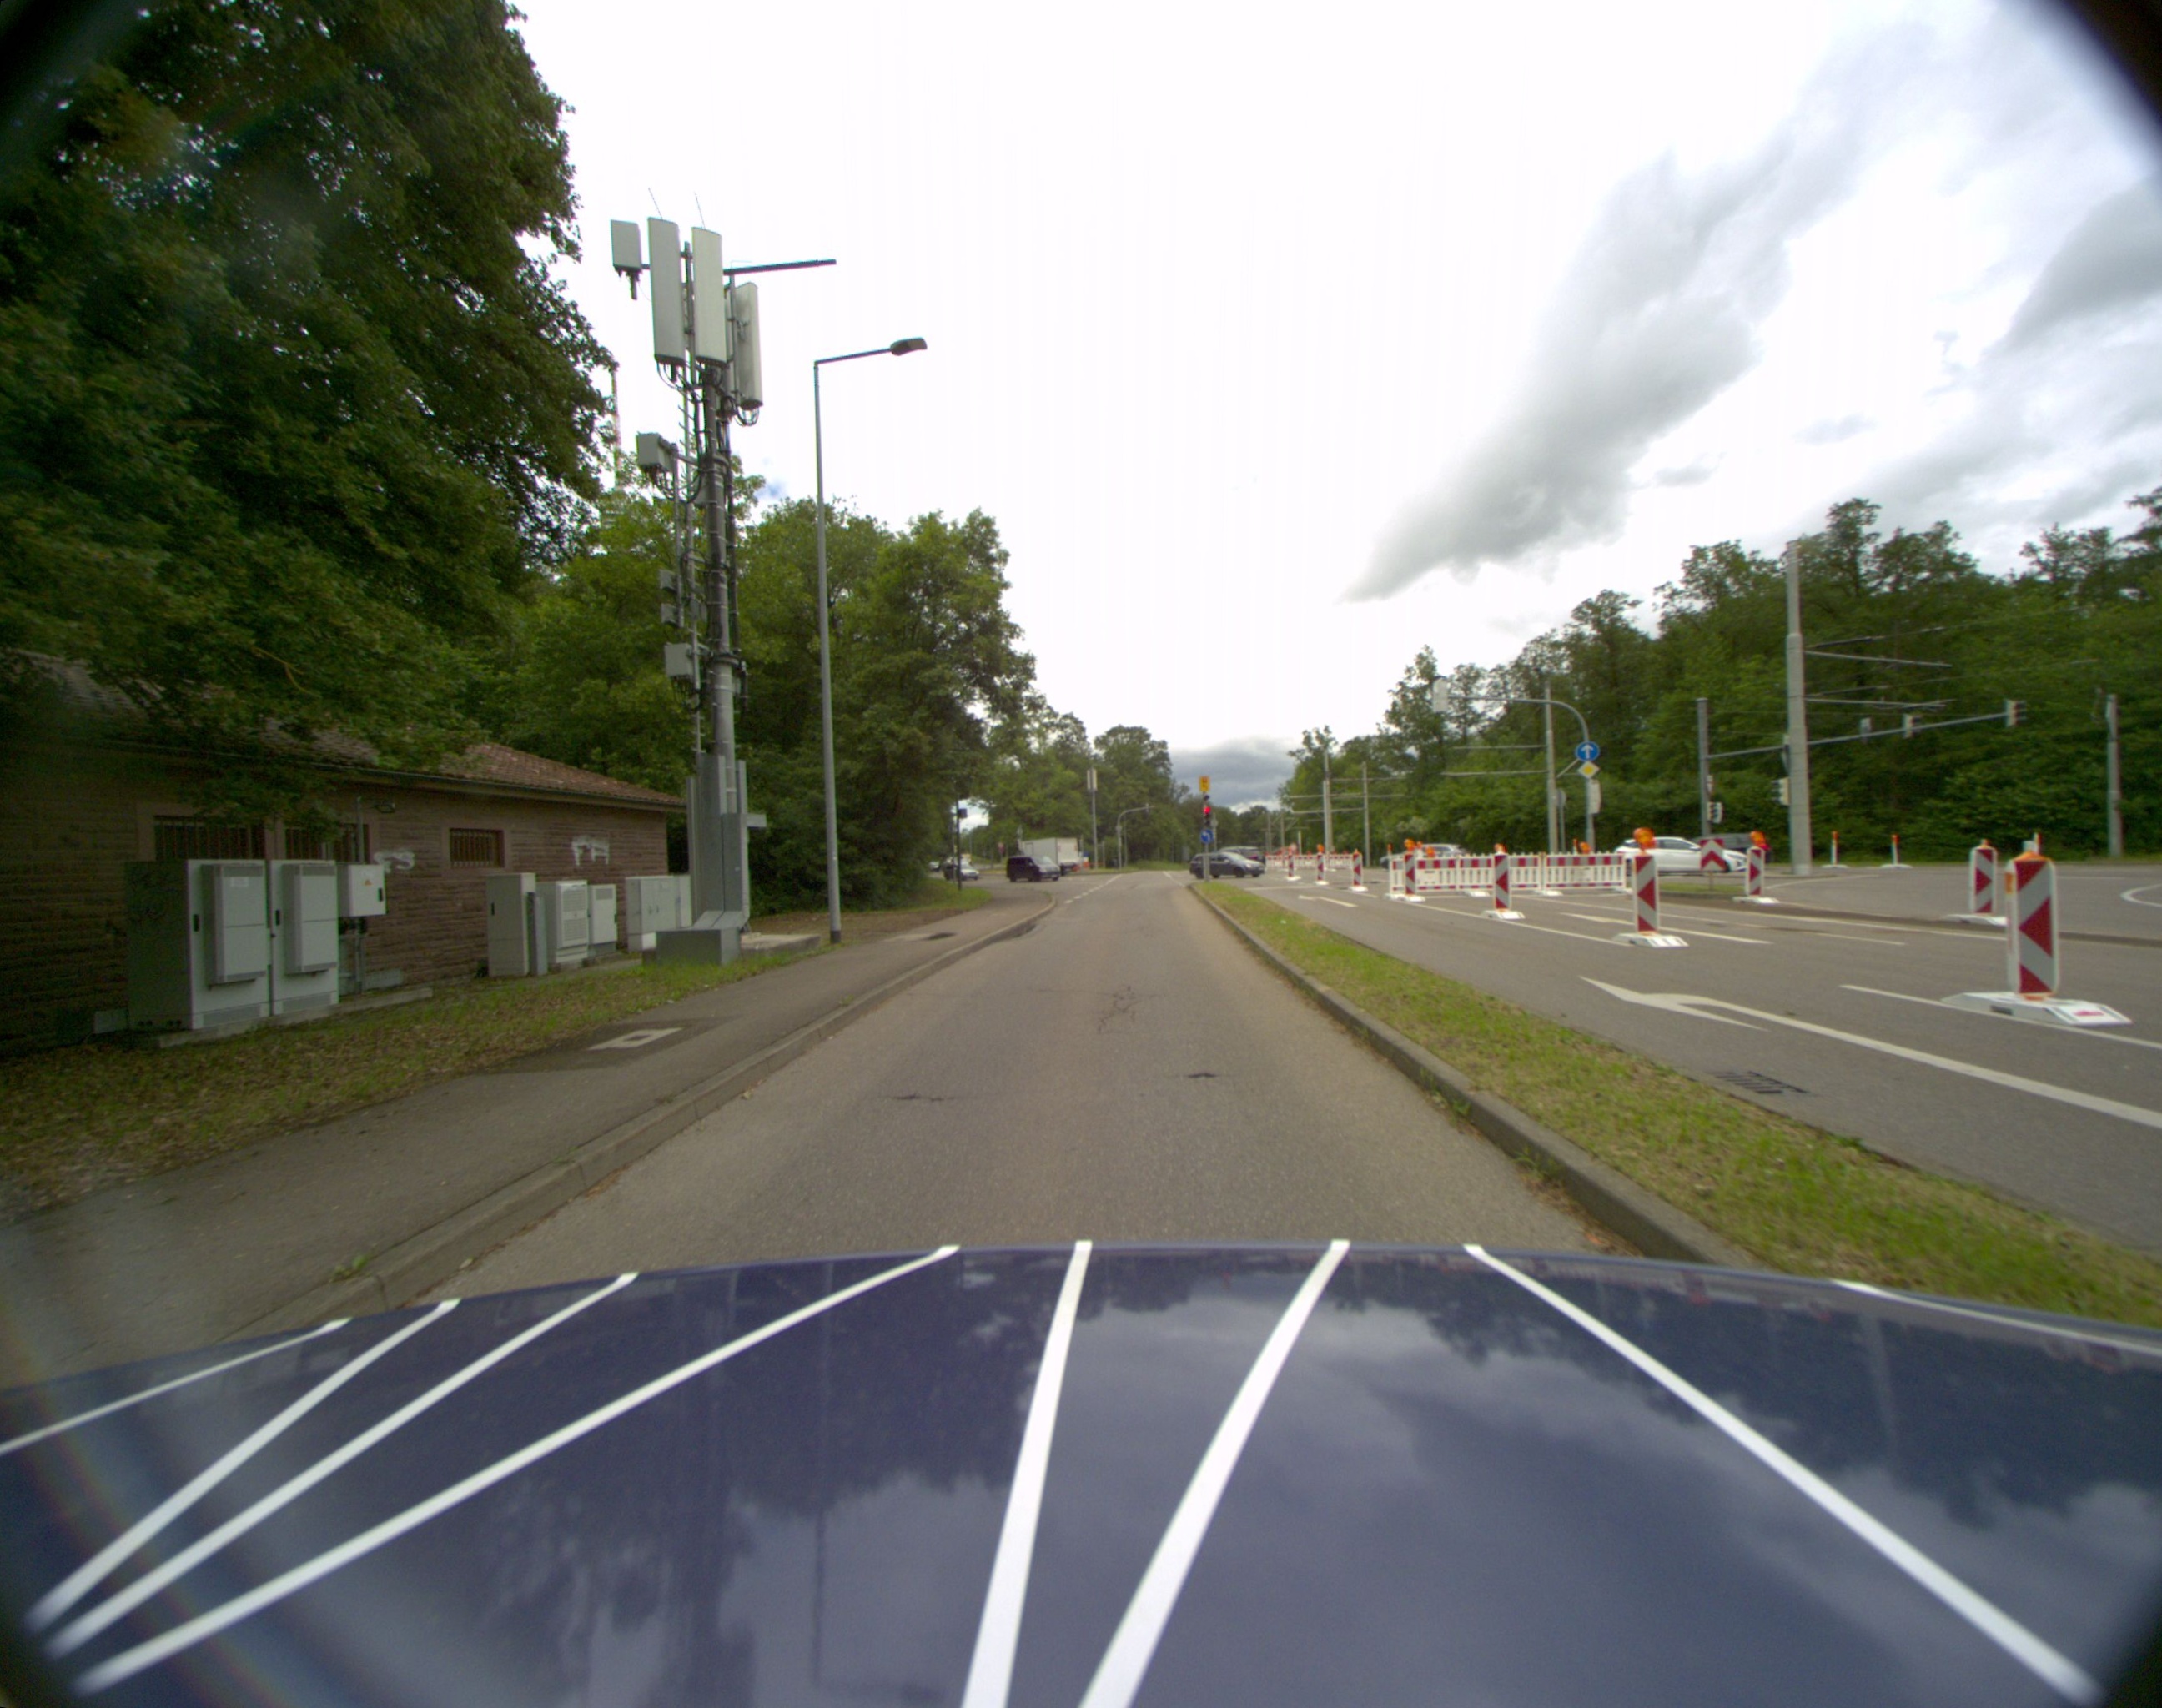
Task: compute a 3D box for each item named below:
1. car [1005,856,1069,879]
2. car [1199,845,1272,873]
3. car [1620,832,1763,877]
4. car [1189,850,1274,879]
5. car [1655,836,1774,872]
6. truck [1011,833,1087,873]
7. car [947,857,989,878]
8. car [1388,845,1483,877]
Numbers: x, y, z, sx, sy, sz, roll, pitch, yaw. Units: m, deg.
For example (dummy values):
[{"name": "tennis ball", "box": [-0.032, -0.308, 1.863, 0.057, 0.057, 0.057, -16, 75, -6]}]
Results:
[{"name": "car", "box": [-3.285, 1.024, 56.172, 1.961, 1.578, 4.896, -4, 1, -43]}, {"name": "car", "box": [10.547, 0.345, 51.984, 4.460, 1.718, 2.004, -2, 1, 42]}, {"name": "car", "box": [22.651, 0.029, 28.279, 3.989, 1.479, 1.772, -2, 1, 43]}, {"name": "car", "box": [8.402, 0.599, 42.725, 4.378, 1.428, 1.800, -2, 1, 45]}, {"name": "car", "box": [28.197, 0.023, 33.891, 1.666, 1.330, 3.831, -7, 3, -42]}, {"name": "truck", "box": [-2.883, -0.079, 66.310, 2.753, 3.193, 6.655, -4, 1, -43]}, {"name": "car", "box": [-9.653, 1.166, 64.610, 1.901, 1.631, 3.973, -3, 1, -36]}, {"name": "car", "box": [19.845, 0.430, 42.657, 4.439, 1.586, 1.884, -2, 1, 40]}]
